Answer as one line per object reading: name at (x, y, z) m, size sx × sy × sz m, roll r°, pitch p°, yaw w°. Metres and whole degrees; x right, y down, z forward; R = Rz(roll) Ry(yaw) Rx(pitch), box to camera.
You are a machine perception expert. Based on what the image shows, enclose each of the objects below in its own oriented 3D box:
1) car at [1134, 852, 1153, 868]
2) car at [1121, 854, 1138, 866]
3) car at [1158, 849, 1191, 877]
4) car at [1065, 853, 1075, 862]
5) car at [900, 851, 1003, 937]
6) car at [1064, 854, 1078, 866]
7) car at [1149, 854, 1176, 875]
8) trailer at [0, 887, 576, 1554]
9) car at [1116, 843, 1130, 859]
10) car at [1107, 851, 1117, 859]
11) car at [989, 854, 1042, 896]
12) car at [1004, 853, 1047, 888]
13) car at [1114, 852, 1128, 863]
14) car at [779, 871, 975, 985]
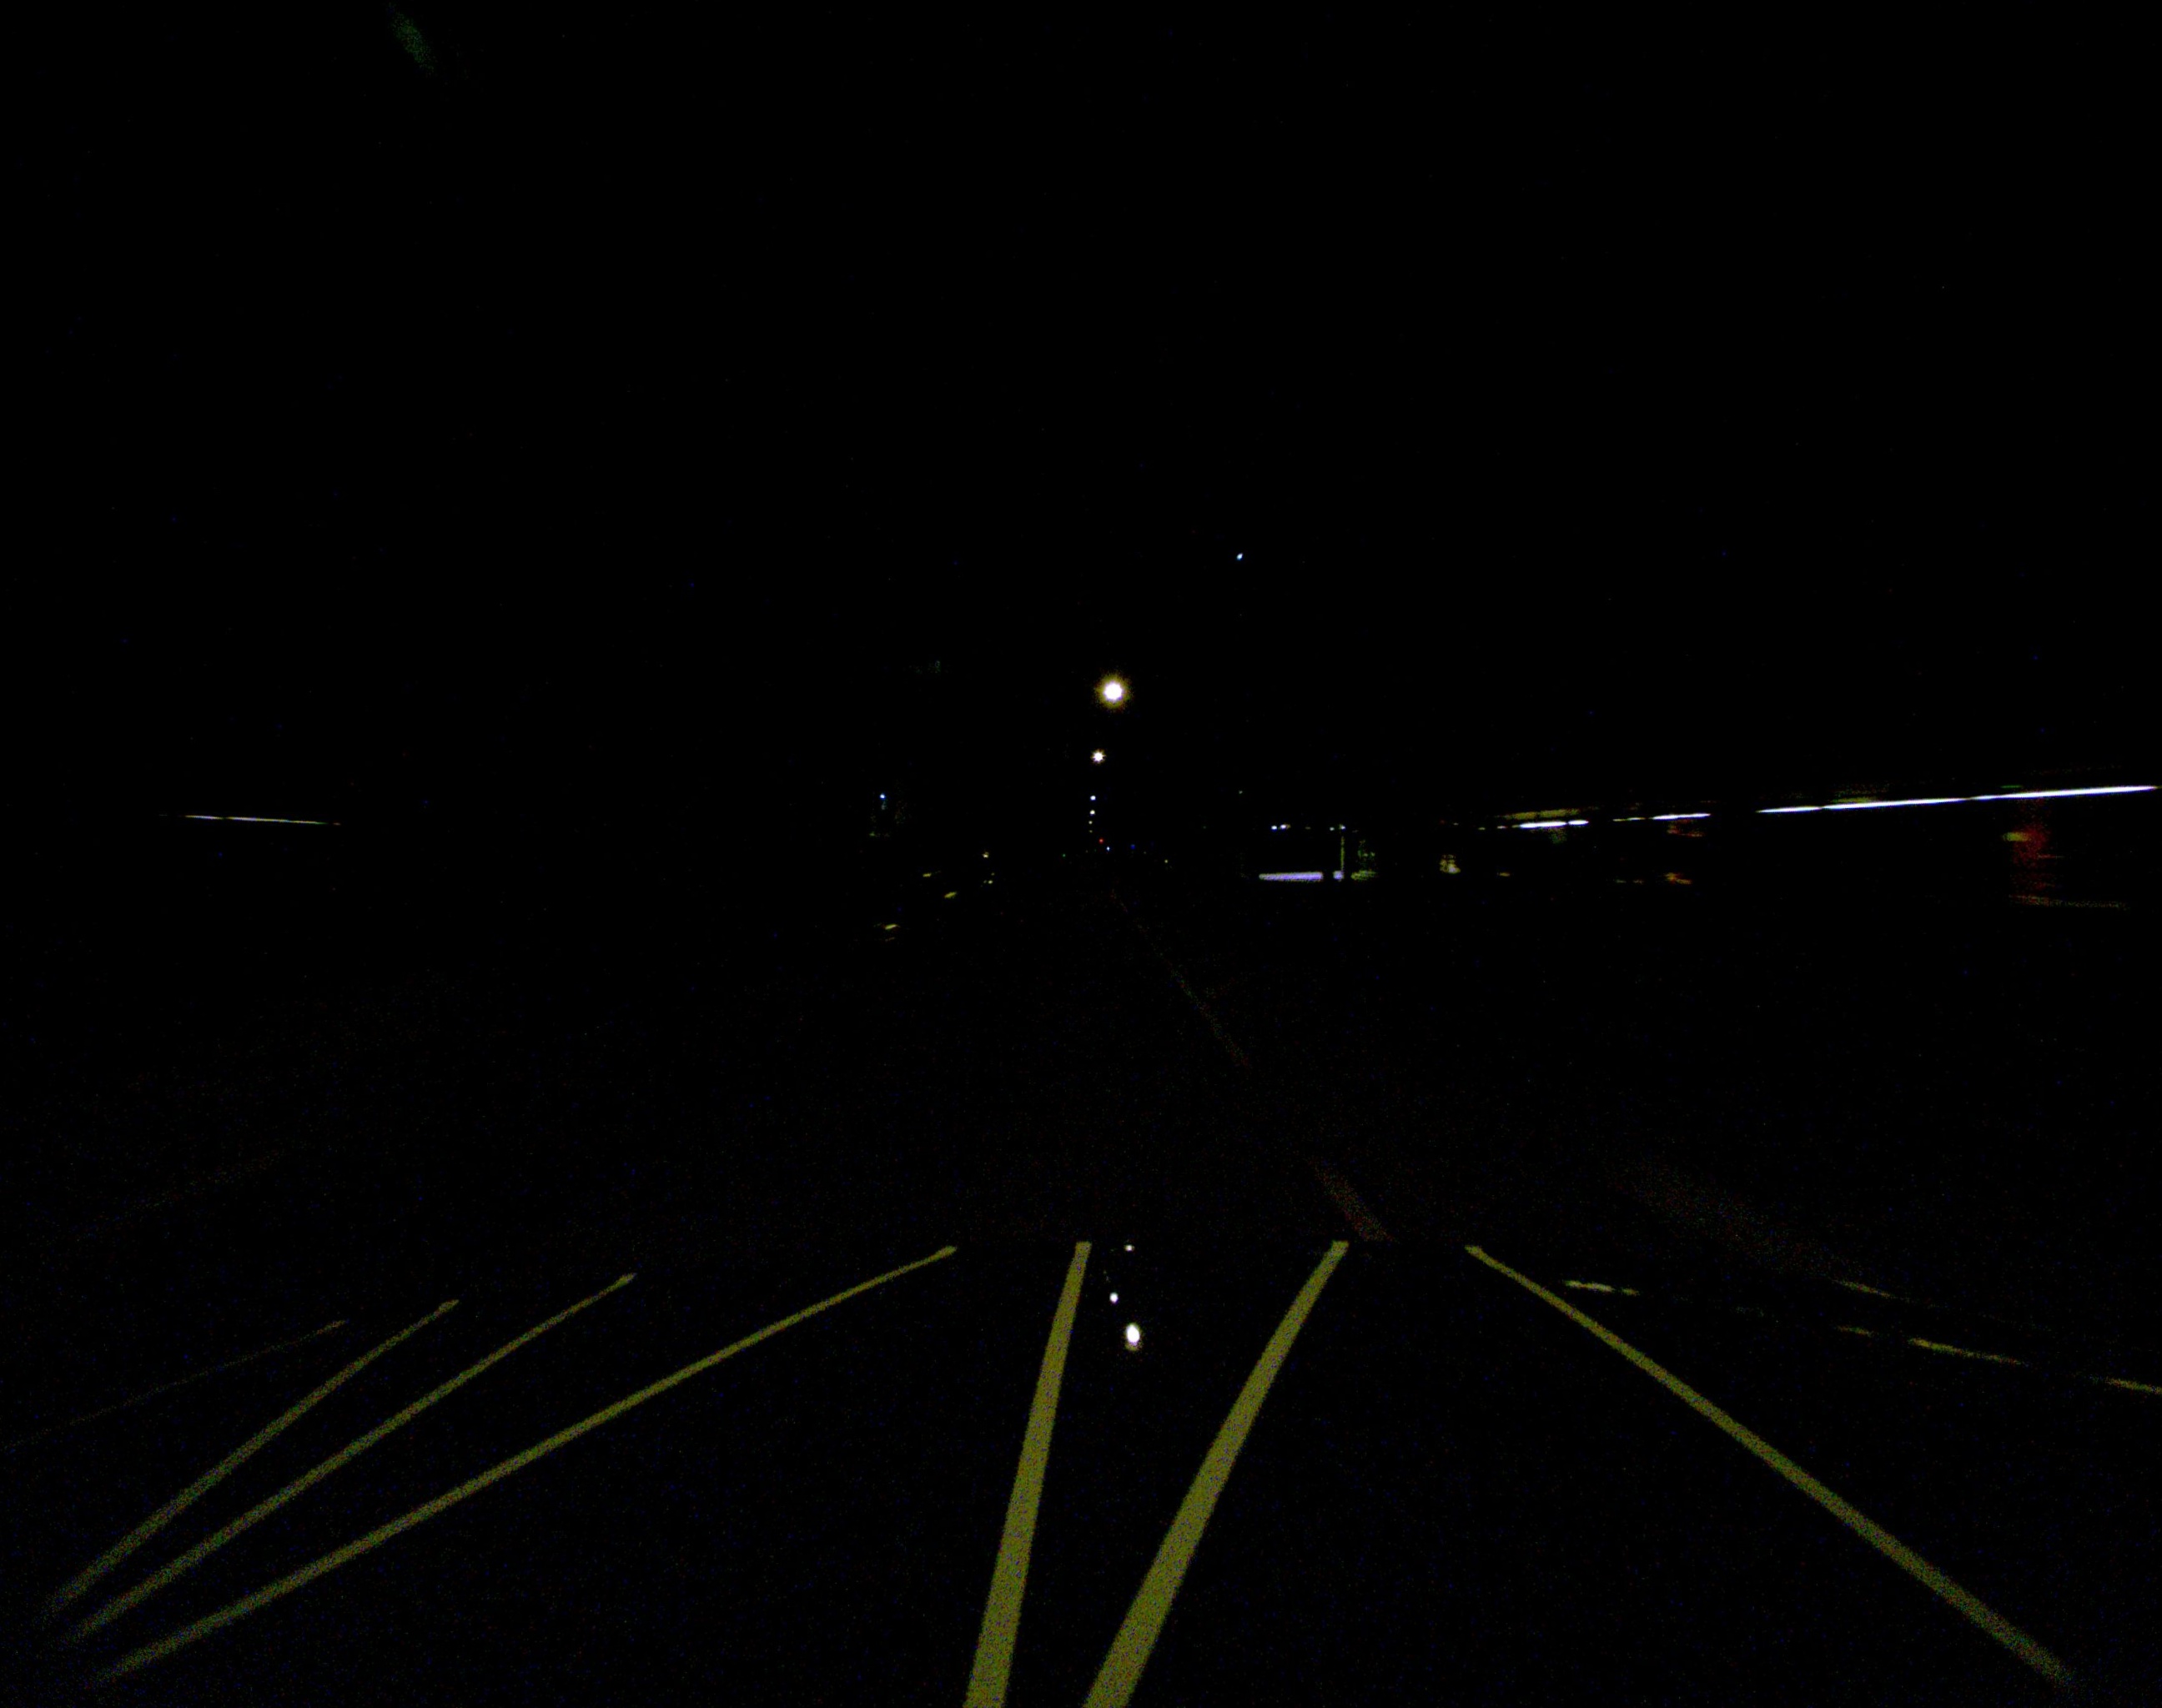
car at (6.534, 0.589, 80.183) m, size 1.826 × 1.637 × 3.731 m, roll 1°, pitch 0°, yaw 3°
car at (6.060, 0.703, 95.083) m, size 1.826 × 1.423 × 3.731 m, roll -3°, pitch 0°, yaw 0°
car at (6.416, 0.606, 52.498) m, size 1.882 × 1.798 × 3.731 m, roll -3°, pitch 0°, yaw 3°
car at (-1.936, 0.603, 134.762) m, size 1.826 × 1.423 × 3.731 m, roll -3°, pitch 0°, yaw 0°
car at (-2.912, 0.824, 17.973) m, size 1.781 × 1.762 × 4.421 m, roll 1°, pitch 0°, yaw -2°
car at (-1.384, 0.807, 104.082) m, size 1.826 × 1.423 × 3.731 m, roll -3°, pitch 0°, yaw 0°
car at (6.234, 0.783, 58.404) m, size 1.826 × 1.423 × 3.731 m, roll -3°, pitch 0°, yaw 3°
trailer at (-3.364, 0.921, 1.778) m, size 1.604 × 1.486 × 3.735 m, roll -1°, pitch 0°, yaw 5°
car at (6.911, -0.486, 125.311) m, size 2.005 × 2.493 × 4.953 m, roll -3°, pitch 0°, yaw 0°
car at (6.192, 0.226, 153.852) m, size 1.826 × 1.423 × 3.731 m, roll -3°, pitch 0°, yaw 0°
car at (-2.707, 0.836, 32.203) m, size 1.934 × 1.655 × 3.773 m, roll 1°, pitch 0°, yaw -1°
car at (-2.753, 0.795, 38.349) m, size 1.934 × 1.655 × 4.094 m, roll 1°, pitch 0°, yaw -1°
car at (5.978, 0.504, 113.742) m, size 1.826 × 1.423 × 3.731 m, roll -3°, pitch 0°, yaw 0°
car at (-2.990, 1.015, 12.178) m, size 1.780 × 1.351 × 4.423 m, roll 1°, pitch 0°, yaw 2°
